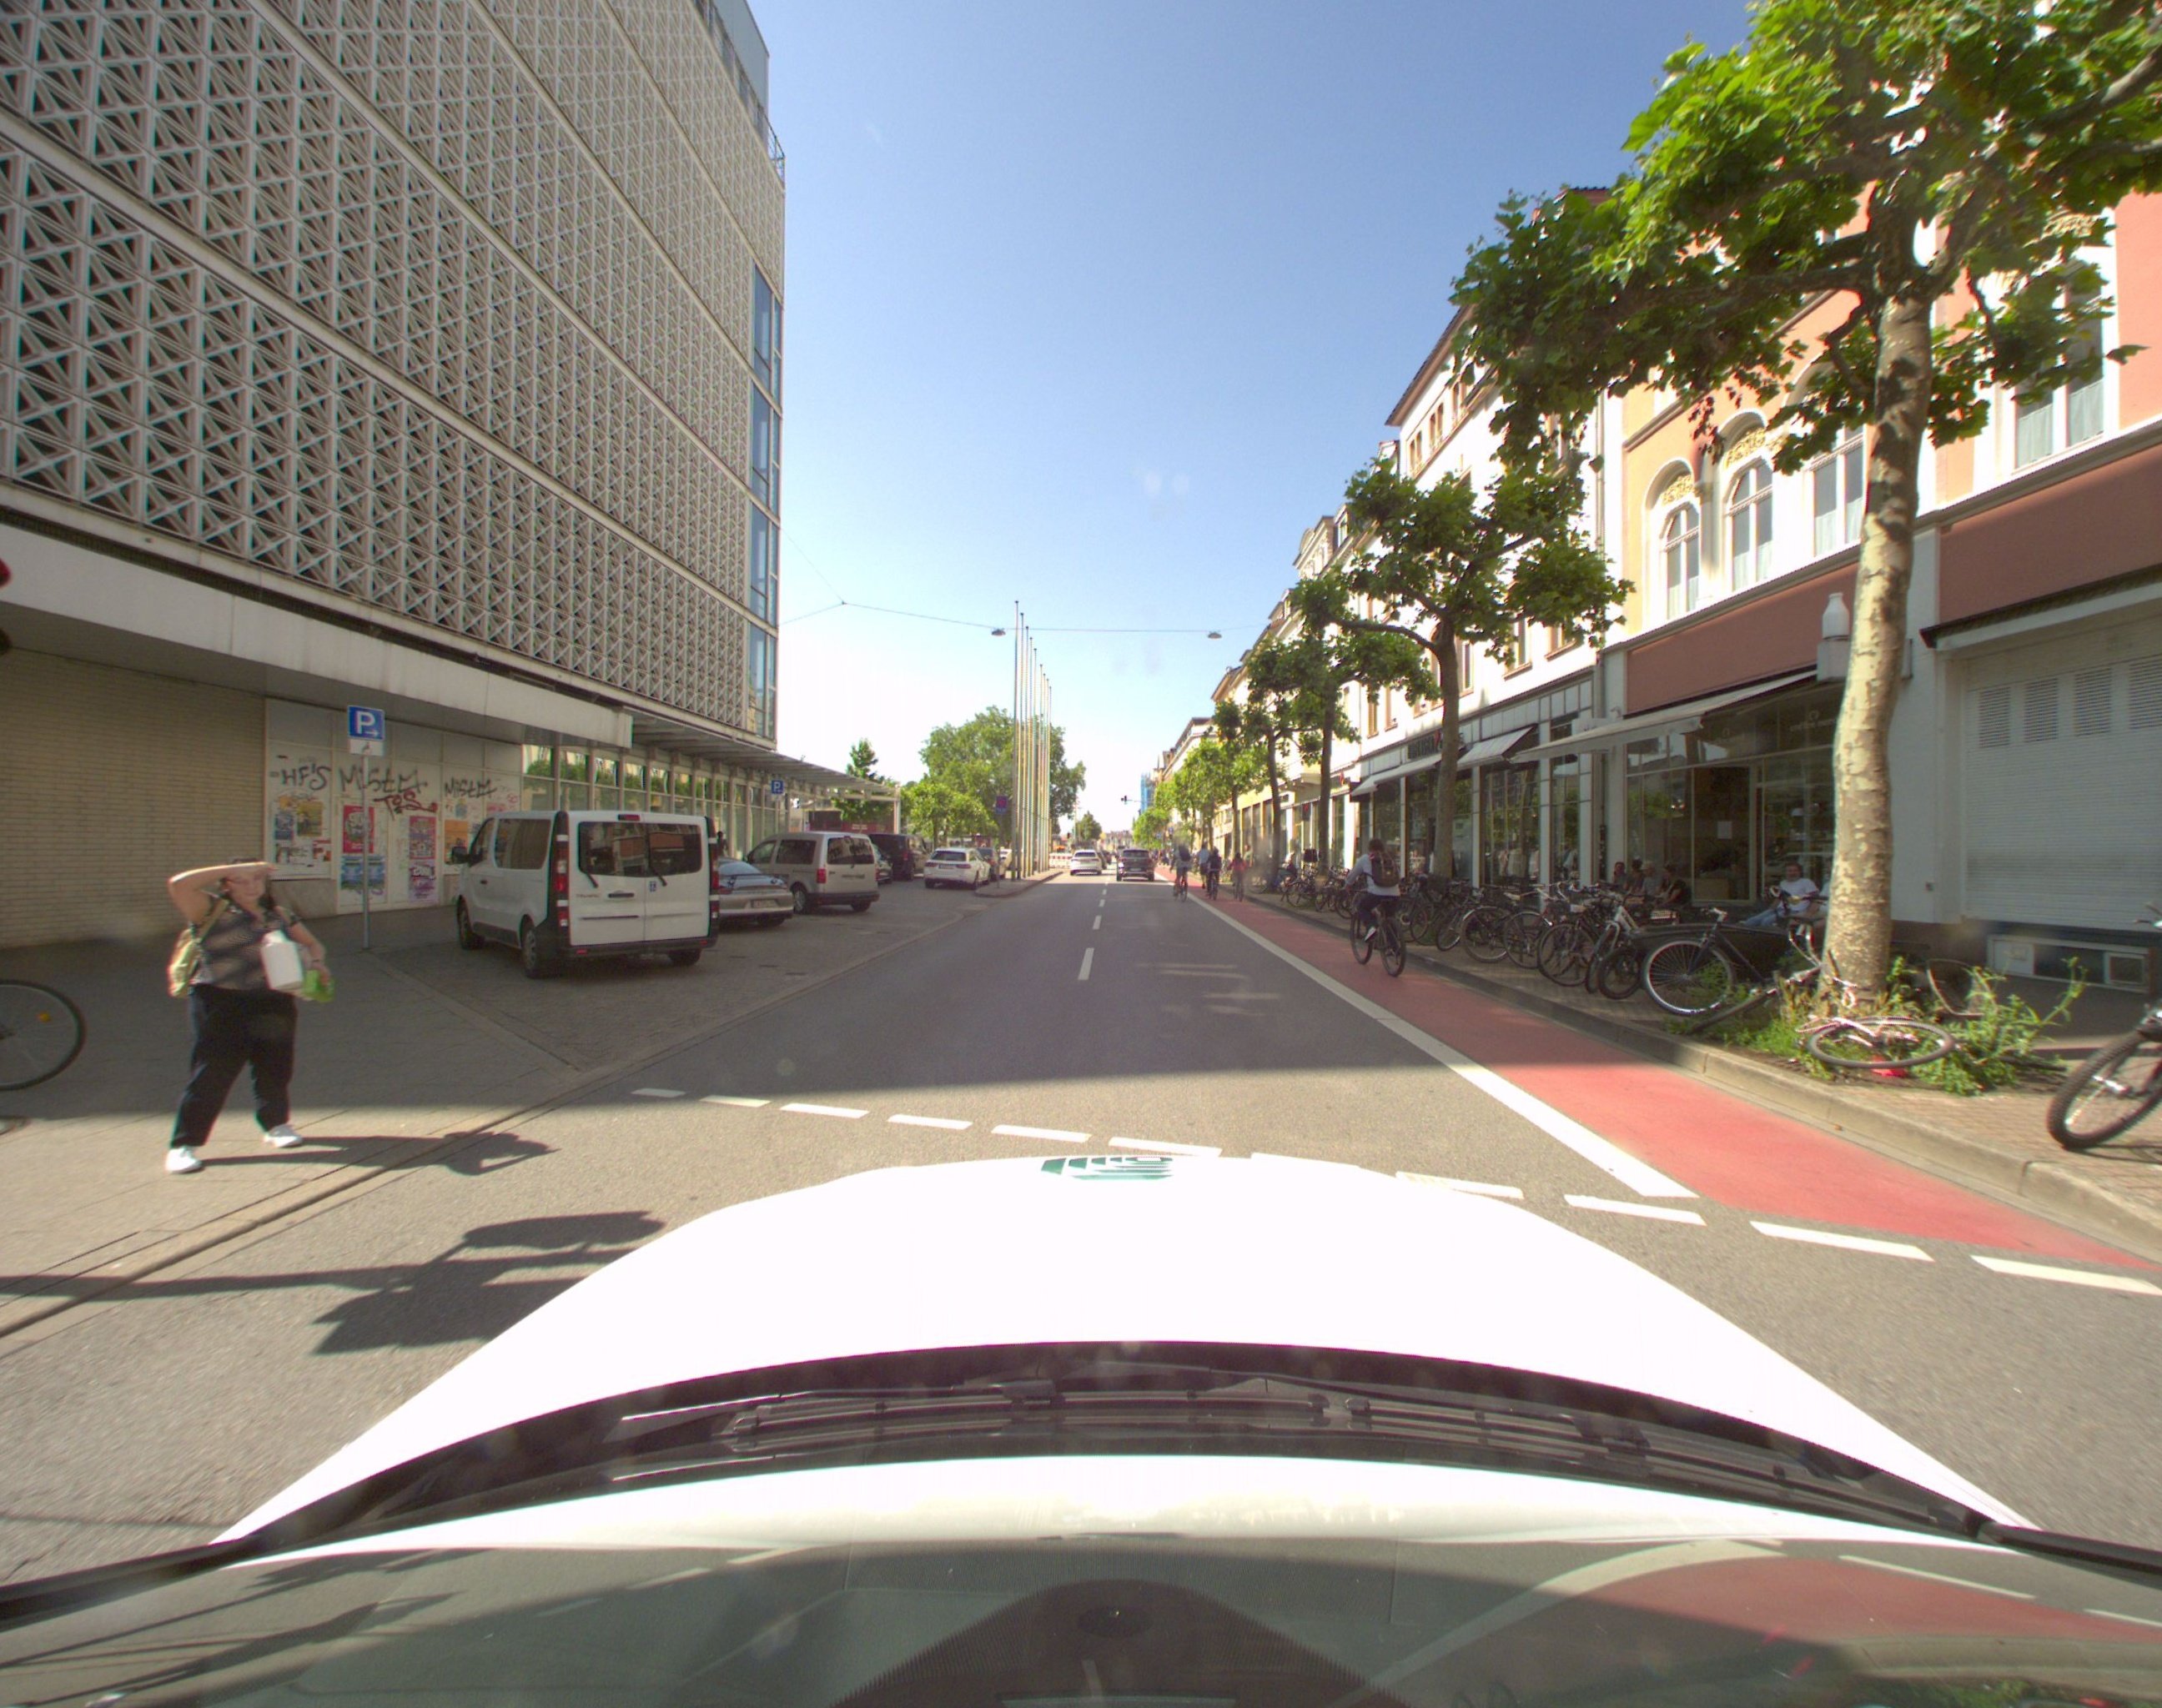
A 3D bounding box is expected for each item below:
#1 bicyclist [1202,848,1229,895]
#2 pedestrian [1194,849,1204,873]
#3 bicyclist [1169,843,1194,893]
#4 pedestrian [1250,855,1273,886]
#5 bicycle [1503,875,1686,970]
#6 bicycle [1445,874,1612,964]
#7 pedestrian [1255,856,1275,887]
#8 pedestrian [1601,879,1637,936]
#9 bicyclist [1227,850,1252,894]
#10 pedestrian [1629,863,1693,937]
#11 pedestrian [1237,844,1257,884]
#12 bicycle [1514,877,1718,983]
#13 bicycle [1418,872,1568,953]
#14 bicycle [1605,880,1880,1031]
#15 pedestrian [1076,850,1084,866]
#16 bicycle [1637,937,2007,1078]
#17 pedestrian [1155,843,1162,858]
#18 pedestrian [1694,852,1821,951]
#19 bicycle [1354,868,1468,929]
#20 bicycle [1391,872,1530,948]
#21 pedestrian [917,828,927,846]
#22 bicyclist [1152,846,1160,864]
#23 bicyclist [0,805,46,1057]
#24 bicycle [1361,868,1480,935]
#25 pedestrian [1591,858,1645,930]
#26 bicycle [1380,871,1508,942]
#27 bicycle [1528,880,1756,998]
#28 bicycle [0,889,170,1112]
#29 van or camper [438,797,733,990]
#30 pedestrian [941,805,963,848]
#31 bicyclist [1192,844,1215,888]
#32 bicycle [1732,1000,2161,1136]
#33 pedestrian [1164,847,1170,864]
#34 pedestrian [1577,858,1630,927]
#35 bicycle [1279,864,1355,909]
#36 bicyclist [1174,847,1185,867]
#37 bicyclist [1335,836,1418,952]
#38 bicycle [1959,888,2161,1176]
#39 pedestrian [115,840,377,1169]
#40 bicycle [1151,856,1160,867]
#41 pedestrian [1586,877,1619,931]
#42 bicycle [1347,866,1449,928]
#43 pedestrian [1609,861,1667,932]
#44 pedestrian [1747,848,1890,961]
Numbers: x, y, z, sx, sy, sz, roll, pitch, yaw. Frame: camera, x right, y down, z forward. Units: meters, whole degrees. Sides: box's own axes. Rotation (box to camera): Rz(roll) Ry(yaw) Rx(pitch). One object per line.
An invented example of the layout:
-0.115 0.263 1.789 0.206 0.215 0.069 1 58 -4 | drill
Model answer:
4.232 0.531 25.664 0.696 1.440 0.790 2 0 -1 | bicyclist
8.163 0.472 56.430 0.612 1.612 0.745 1 0 3 | pedestrian
3.028 0.419 24.587 0.628 1.481 1.198 0 0 2 | bicyclist
7.383 0.693 33.345 0.785 1.243 0.576 1 -1 -1 | pedestrian
6.343 0.831 10.130 1.832 1.127 0.667 0 -1 4 | bicycle
5.869 0.837 10.751 1.832 1.127 0.644 0 -1 4 | bicycle
7.403 0.692 32.748 0.637 1.233 0.597 1 -1 0 | pedestrian
9.544 0.938 14.445 0.363 0.968 0.437 1 0 4 | pedestrian
4.997 0.559 25.670 0.598 1.357 0.721 1 0 -1 | bicyclist
10.176 0.791 14.308 0.637 1.253 0.608 -1 -1 0 | pedestrian
7.132 0.421 35.026 0.637 1.689 0.843 3 1 0 | pedestrian
5.979 0.827 9.171 1.832 1.127 0.667 0 -1 4 | bicycle
5.933 0.827 11.797 1.832 1.127 0.667 0 -1 4 | bicycle
5.693 0.844 7.096 1.826 1.126 0.347 2 1 17 | bicycle
-0.146 0.432 86.553 0.627 1.595 0.690 0 -1 23 | pedestrian
5.588 1.207 6.297 1.842 0.397 1.019 8 -35 6 | bicycle
8.453 -0.377 88.932 0.608 1.515 0.678 -4 -1 0 | pedestrian
10.045 0.692 12.130 1.229 1.422 0.789 0 -1 -1 | pedestrian
6.323 0.827 15.717 1.971 1.127 0.764 0 -1 15 | bicycle
5.842 0.845 12.613 1.832 1.127 0.667 0 -1 4 | bicycle
-16.144 -1.689 82.505 0.598 1.749 0.809 0 -2 34 | pedestrian
6.544 0.126 71.213 0.644 1.551 0.818 1 0 2 | bicyclist
-7.101 0.469 4.773 1.080 1.539 0.729 0 1 -32 | bicyclist
5.971 0.826 14.385 1.832 1.127 0.680 1 -1 4 | bicycle
10.182 0.742 15.452 0.679 1.338 0.532 0 0 0 | pedestrian
5.903 0.847 13.305 1.832 1.127 0.530 0 -1 4 | bicycle
5.717 0.842 8.400 1.829 1.127 0.668 0 -1 9 | bicycle
-7.104 0.887 4.775 2.219 1.267 0.729 0 1 -32 | bicycle
-6.691 0.338 10.766 4.602 2.013 2.012 3 1 41 | van or camper
-5.557 -1.177 35.116 0.612 1.792 0.697 1 0 41 | pedestrian
4.581 0.429 30.510 0.771 1.635 0.852 0 0 2 | bicyclist
5.786 1.350 5.488 1.142 0.434 1.842 -10 -4 -24 | bicycle
8.596 0.168 81.483 0.546 1.631 0.590 -1 -1 5 | pedestrian
10.287 0.749 16.046 0.679 1.332 0.532 1 0 0 | pedestrian
6.180 0.841 21.385 1.833 1.093 0.565 2 0 2 | bicycle
9.178 0.303 75.668 0.577 1.797 0.848 -2 0 -32 | bicyclist
3.871 0.502 10.734 0.696 1.445 0.960 2 0 -1 | bicyclist
5.307 0.844 3.572 1.833 1.188 0.721 5 4 40 | bicycle
-4.279 0.715 4.235 0.639 1.559 0.679 2 0 -10 | pedestrian
6.532 0.654 71.321 0.644 0.998 2.032 1 0 2 | bicycle
9.673 0.923 15.108 0.339 0.968 0.437 1 0 4 | pedestrian
6.367 0.851 16.429 1.827 1.127 0.532 2 -1 14 | bicycle
10.187 0.769 14.907 0.679 1.253 0.532 -1 0 -1 | pedestrian
10.165 0.674 11.264 1.248 1.483 0.837 1 0 -1 | pedestrian
